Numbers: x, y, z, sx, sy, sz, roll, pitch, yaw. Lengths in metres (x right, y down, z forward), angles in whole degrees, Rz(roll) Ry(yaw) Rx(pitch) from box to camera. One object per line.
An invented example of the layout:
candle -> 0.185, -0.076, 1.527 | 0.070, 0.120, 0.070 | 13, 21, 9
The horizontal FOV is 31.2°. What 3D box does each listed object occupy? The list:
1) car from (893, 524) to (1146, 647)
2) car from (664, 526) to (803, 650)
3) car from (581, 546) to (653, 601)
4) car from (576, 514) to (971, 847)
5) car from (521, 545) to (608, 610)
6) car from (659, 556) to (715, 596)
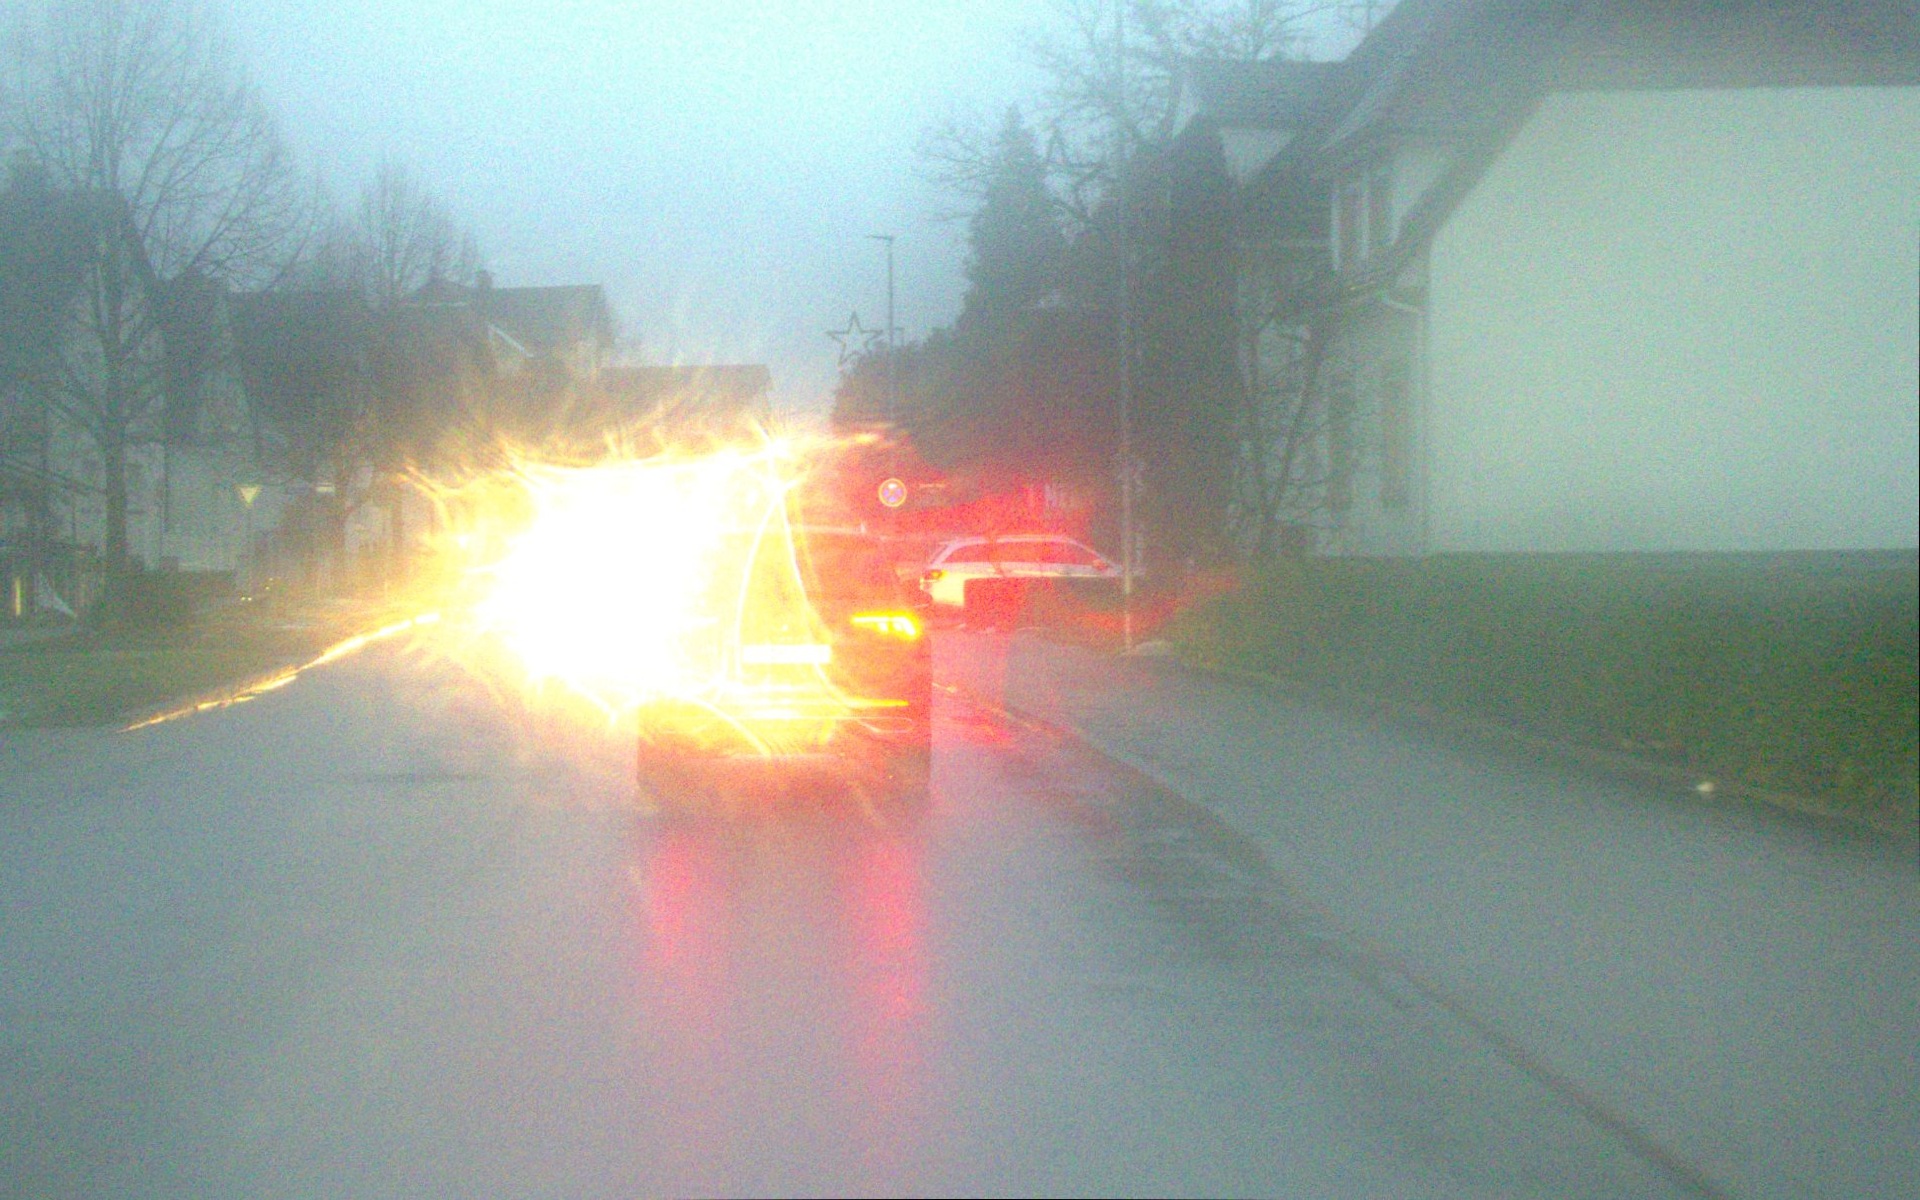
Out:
car -> 1.001, -0.264, 58.823 | 4.246, 2.007, 1.811 | -1, 1, 0
car -> -3.206, -0.199, 48.207 | 1.857, 1.641, 4.001 | 0, 1, -5
car -> -10.248, -0.816, 102.892 | 1.913, 1.426, 4.001 | 0, 3, -2
car -> -1.359, 0.453, 22.758 | 2.309, 1.932, 5.019 | -1, 0, -6
car -> -10.109, -0.599, 88.160 | 1.913, 1.517, 4.001 | 0, 2, -2
car -> -9.463, -0.833, 119.483 | 1.842, 1.327, 3.938 | -1, 1, -3
